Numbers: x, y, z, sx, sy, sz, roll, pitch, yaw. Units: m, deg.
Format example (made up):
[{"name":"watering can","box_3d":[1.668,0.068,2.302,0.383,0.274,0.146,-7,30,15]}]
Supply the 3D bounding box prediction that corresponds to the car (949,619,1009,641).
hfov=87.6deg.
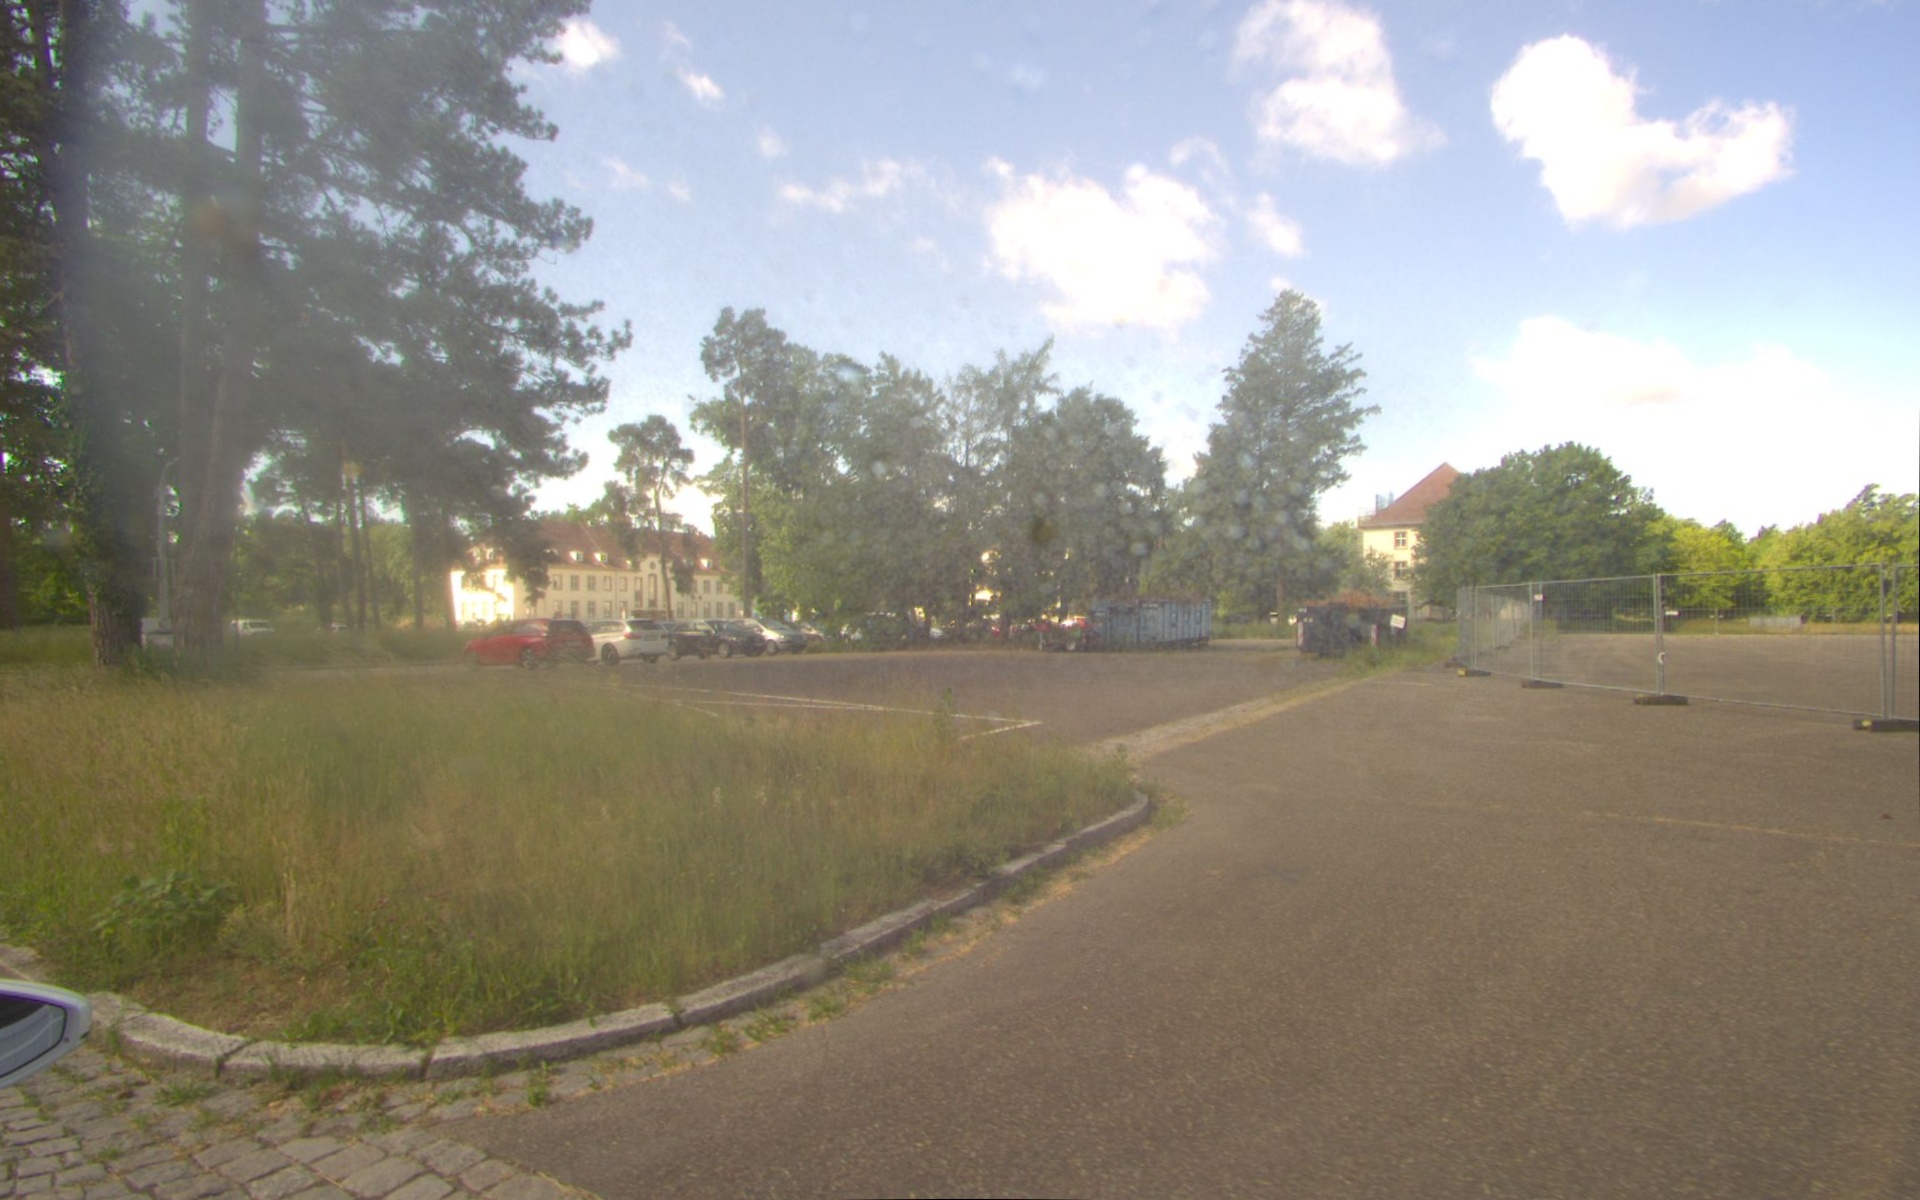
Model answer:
[{"name":"car","box_3d":[1.413,2.196,73.794,4.181,1.567,1.721,-1,-2,33]}]

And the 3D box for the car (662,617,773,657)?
[{"name":"car","box_3d":[-8.817,1.314,36.257,3.988,1.332,1.613,-1,0,33]}]

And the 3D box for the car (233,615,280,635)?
[{"name":"car","box_3d":[-59.160,2.068,84.241,4.103,1.602,1.823,-1,-1,33]}]

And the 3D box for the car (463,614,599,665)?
[{"name":"car","box_3d":[-12.572,1.169,29.272,4.071,1.416,1.653,-2,-2,32]}]

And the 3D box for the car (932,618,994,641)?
[{"name":"car","box_3d":[0.186,2.109,71.426,4.181,1.567,1.721,-1,-2,33]}]

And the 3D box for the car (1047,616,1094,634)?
[{"name":"car","box_3d":[9.562,2.194,86.974,3.682,1.567,1.705,-1,-2,32]}]

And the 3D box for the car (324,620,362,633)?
[{"name":"car","box_3d":[-55.746,2.374,90.397,3.951,1.101,1.716,-1,-1,39]}]

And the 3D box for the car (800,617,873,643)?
[{"name":"car","box_3d":[-7.362,1.804,59.510,4.181,1.487,1.721,-1,-2,33]}]

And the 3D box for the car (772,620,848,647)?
[{"name":"car","box_3d":[-8.491,1.895,56.660,4.181,1.443,1.721,-1,-2,33]}]

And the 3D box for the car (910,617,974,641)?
[{"name":"car","box_3d":[-1.260,2.005,68.588,4.181,1.567,1.721,-1,-2,33]}]

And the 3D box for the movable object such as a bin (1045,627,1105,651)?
[{"name":"movable object such as a bin","box_3d":[3.776,1.283,32.937,1.696,0.762,1.143,-1,-1,26]}]

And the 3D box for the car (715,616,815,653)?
[{"name":"car","box_3d":[-7.604,1.327,38.963,3.740,1.389,1.720,-1,-2,34]}]

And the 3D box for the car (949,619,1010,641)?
[{"name":"car","box_3d":[1.428,2.196,73.786,4.181,1.567,1.721,-1,-2,33]}]

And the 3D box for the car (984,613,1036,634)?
[{"name":"car","box_3d":[3.798,1.814,76.723,3.640,1.567,1.705,-1,-2,32]}]

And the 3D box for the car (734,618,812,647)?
[{"name":"car","box_3d":[-10.289,1.793,54.965,4.181,1.512,1.721,-1,-2,33]}]

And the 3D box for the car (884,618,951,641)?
[{"name":"car","box_3d":[-2.833,1.931,66.005,4.181,1.443,1.721,-1,-2,33]}]

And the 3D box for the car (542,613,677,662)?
[{"name":"car","box_3d":[-11.132,1.198,31.747,4.180,1.396,1.776,-3,-2,31]}]
